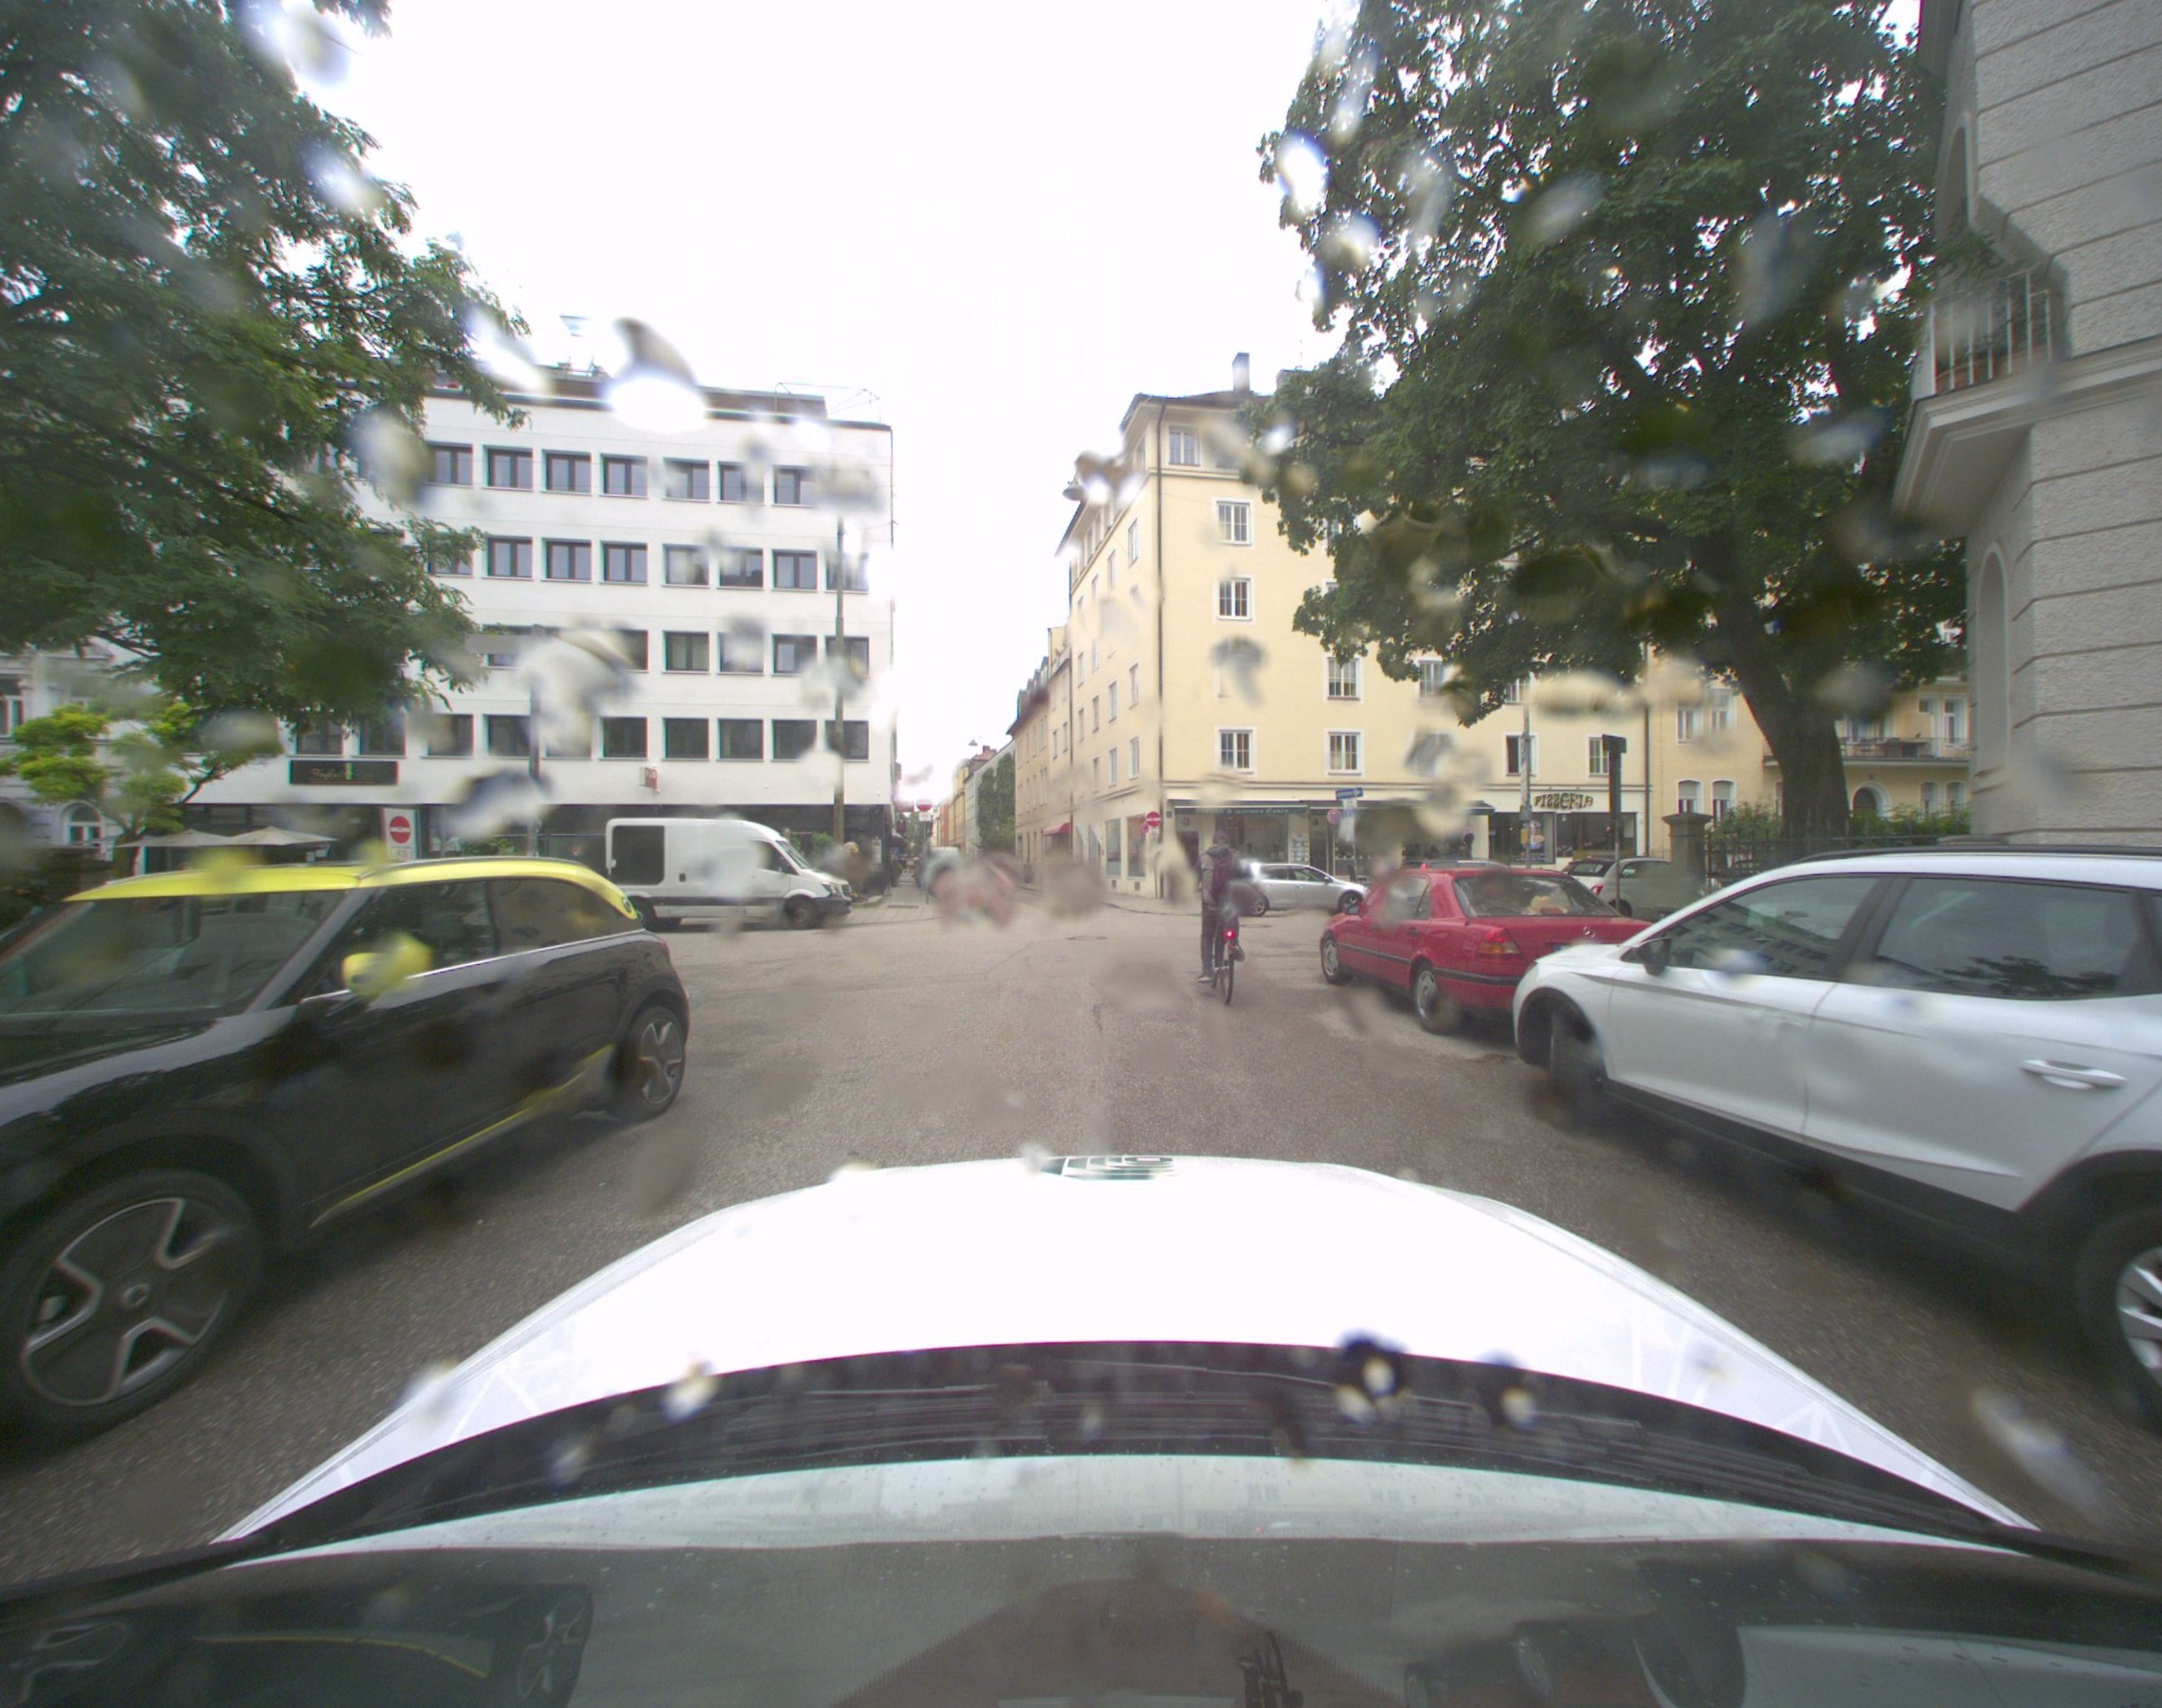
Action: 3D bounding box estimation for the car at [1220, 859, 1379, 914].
[{"bbox_3d":[6.004,0.937,22.724,3.972,1.416,1.821,-1,-4,1],"label":"car"}]

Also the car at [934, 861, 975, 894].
[{"bbox_3d":[-6.468,1.144,41.351,1.833,1.535,3.984,-1,0,-11],"label":"car"}]

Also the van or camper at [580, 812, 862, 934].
[{"bbox_3d":[-8.487,0.441,19.708,5.901,2.677,1.867,-1,-2,-9],"label":"van or camper"}]

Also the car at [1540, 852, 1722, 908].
[{"bbox_3d":[15.981,0.765,23.745,4.336,1.503,1.814,0,-3,-10],"label":"car"}]

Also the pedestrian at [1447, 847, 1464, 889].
[{"bbox_3d":[14.092,0.523,30.667,0.551,1.537,0.437,0,1,28],"label":"pedestrian"}]

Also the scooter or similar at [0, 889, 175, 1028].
[{"bbox_3d":[-9.951,0.978,8.041,0.550,1.216,1.191,0,-1,13],"label":"scooter or similar"}]

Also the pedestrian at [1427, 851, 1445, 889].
[{"bbox_3d":[13.363,0.592,30.674,0.507,1.433,0.586,-1,-1,32],"label":"pedestrian"}]

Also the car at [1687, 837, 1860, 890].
[{"bbox_3d":[20.941,0.307,24.701,3.987,1.449,1.804,-1,-4,-10],"label":"car"}]

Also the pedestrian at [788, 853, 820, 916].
[{"bbox_3d":[-8.059,0.888,23.692,0.781,1.783,0.614,1,1,-25],"label":"pedestrian"}]

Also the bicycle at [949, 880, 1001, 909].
[{"bbox_3d":[-3.743,1.429,28.780,1.739,0.968,0.540,-1,-1,-16],"label":"bicycle"}]

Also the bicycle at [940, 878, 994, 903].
[{"bbox_3d":[-4.263,1.364,30.517,1.915,0.863,0.615,-1,-1,-16],"label":"bicycle"}]

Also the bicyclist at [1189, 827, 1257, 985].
[{"bbox_3d":[1.499,0.532,8.696,0.603,1.606,0.758,-1,0,3],"label":"bicyclist"}]

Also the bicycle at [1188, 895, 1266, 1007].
[{"bbox_3d":[1.508,0.974,8.639,0.636,1.004,1.576,-1,0,4],"label":"bicycle"}]

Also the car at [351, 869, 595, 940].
[{"bbox_3d":[-13.722,1.121,18.654,4.055,1.429,1.792,-1,-3,-12],"label":"car"}]

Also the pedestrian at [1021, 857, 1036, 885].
[{"bbox_3d":[-3.502,1.126,53.872,0.878,1.778,0.770,-1,-1,-11],"label":"pedestrian"}]

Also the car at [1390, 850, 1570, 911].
[{"bbox_3d":[11.223,0.742,23.020,4.336,1.592,1.814,0,-2,-10],"label":"car"}]

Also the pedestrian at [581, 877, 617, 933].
[{"bbox_3d":[-13.036,1.380,22.037,0.644,1.481,0.595,-2,-3,35],"label":"pedestrian"}]

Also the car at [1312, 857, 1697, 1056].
[{"bbox_3d":[3.716,0.764,8.101,1.664,1.435,4.213,0,0,0],"label":"car"}]

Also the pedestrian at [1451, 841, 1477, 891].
[{"bbox_3d":[13.269,0.412,28.237,0.602,1.702,0.542,-1,1,-8],"label":"pedestrian"}]

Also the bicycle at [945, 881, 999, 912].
[{"bbox_3d":[-3.670,1.427,27.397,1.758,0.968,0.592,-1,-1,-16],"label":"bicycle"}]

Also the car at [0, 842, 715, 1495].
[{"bbox_3d":[-3.460,0.827,3.674,1.670,1.597,3.946,-3,-1,2],"label":"car"}]

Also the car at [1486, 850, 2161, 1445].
[{"bbox_3d":[3.537,0.742,3.257,1.746,1.496,3.905,-1,0,-3],"label":"car"}]

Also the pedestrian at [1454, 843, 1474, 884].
[{"bbox_3d":[14.681,0.376,31.230,0.435,1.551,0.530,-1,-1,-27],"label":"pedestrian"}]

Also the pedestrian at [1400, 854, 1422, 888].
[{"bbox_3d":[12.749,0.640,31.506,0.515,1.297,0.577,-1,-1,-31],"label":"pedestrian"}]

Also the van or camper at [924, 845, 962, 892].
[{"bbox_3d":[-7.938,0.799,46.884,1.994,2.540,4.743,-1,0,-10],"label":"van or camper"}]

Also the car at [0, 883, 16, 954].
[{"bbox_3d":[-25.572,1.427,16.898,4.120,1.544,1.796,-1,-2,-7],"label":"car"}]

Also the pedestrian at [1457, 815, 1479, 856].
[{"bbox_3d":[15.127,-0.723,31.874,0.552,1.575,0.576,1,-1,-9],"label":"pedestrian"}]

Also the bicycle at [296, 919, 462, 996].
[{"bbox_3d":[-9.876,1.436,11.547,1.567,0.947,0.891,1,-3,-26],"label":"bicycle"}]

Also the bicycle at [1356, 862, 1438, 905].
[{"bbox_3d":[9.685,0.890,25.028,2.081,1.253,1.103,0,0,-9],"label":"bicycle"}]

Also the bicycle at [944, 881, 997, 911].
[{"bbox_3d":[-3.822,1.430,28.066,1.739,0.968,0.540,-1,-1,-16],"label":"bicycle"}]

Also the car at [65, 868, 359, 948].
[{"bbox_3d":[-18.760,1.147,17.787,4.121,1.544,1.795,-1,-2,-8],"label":"car"}]

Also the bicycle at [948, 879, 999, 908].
[{"bbox_3d":[-3.887,1.428,29.388,1.739,0.968,0.540,-1,-1,-16],"label":"bicycle"}]

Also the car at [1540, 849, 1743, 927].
[{"bbox_3d":[11.782,0.678,17.223,3.318,1.487,1.624,-1,1,-7],"label":"car"}]

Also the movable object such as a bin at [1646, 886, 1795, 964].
[{"bbox_3d":[8.057,0.868,10.328,0.898,0.865,1.218,-1,0,-2],"label":"movable object such as a bin"}]
